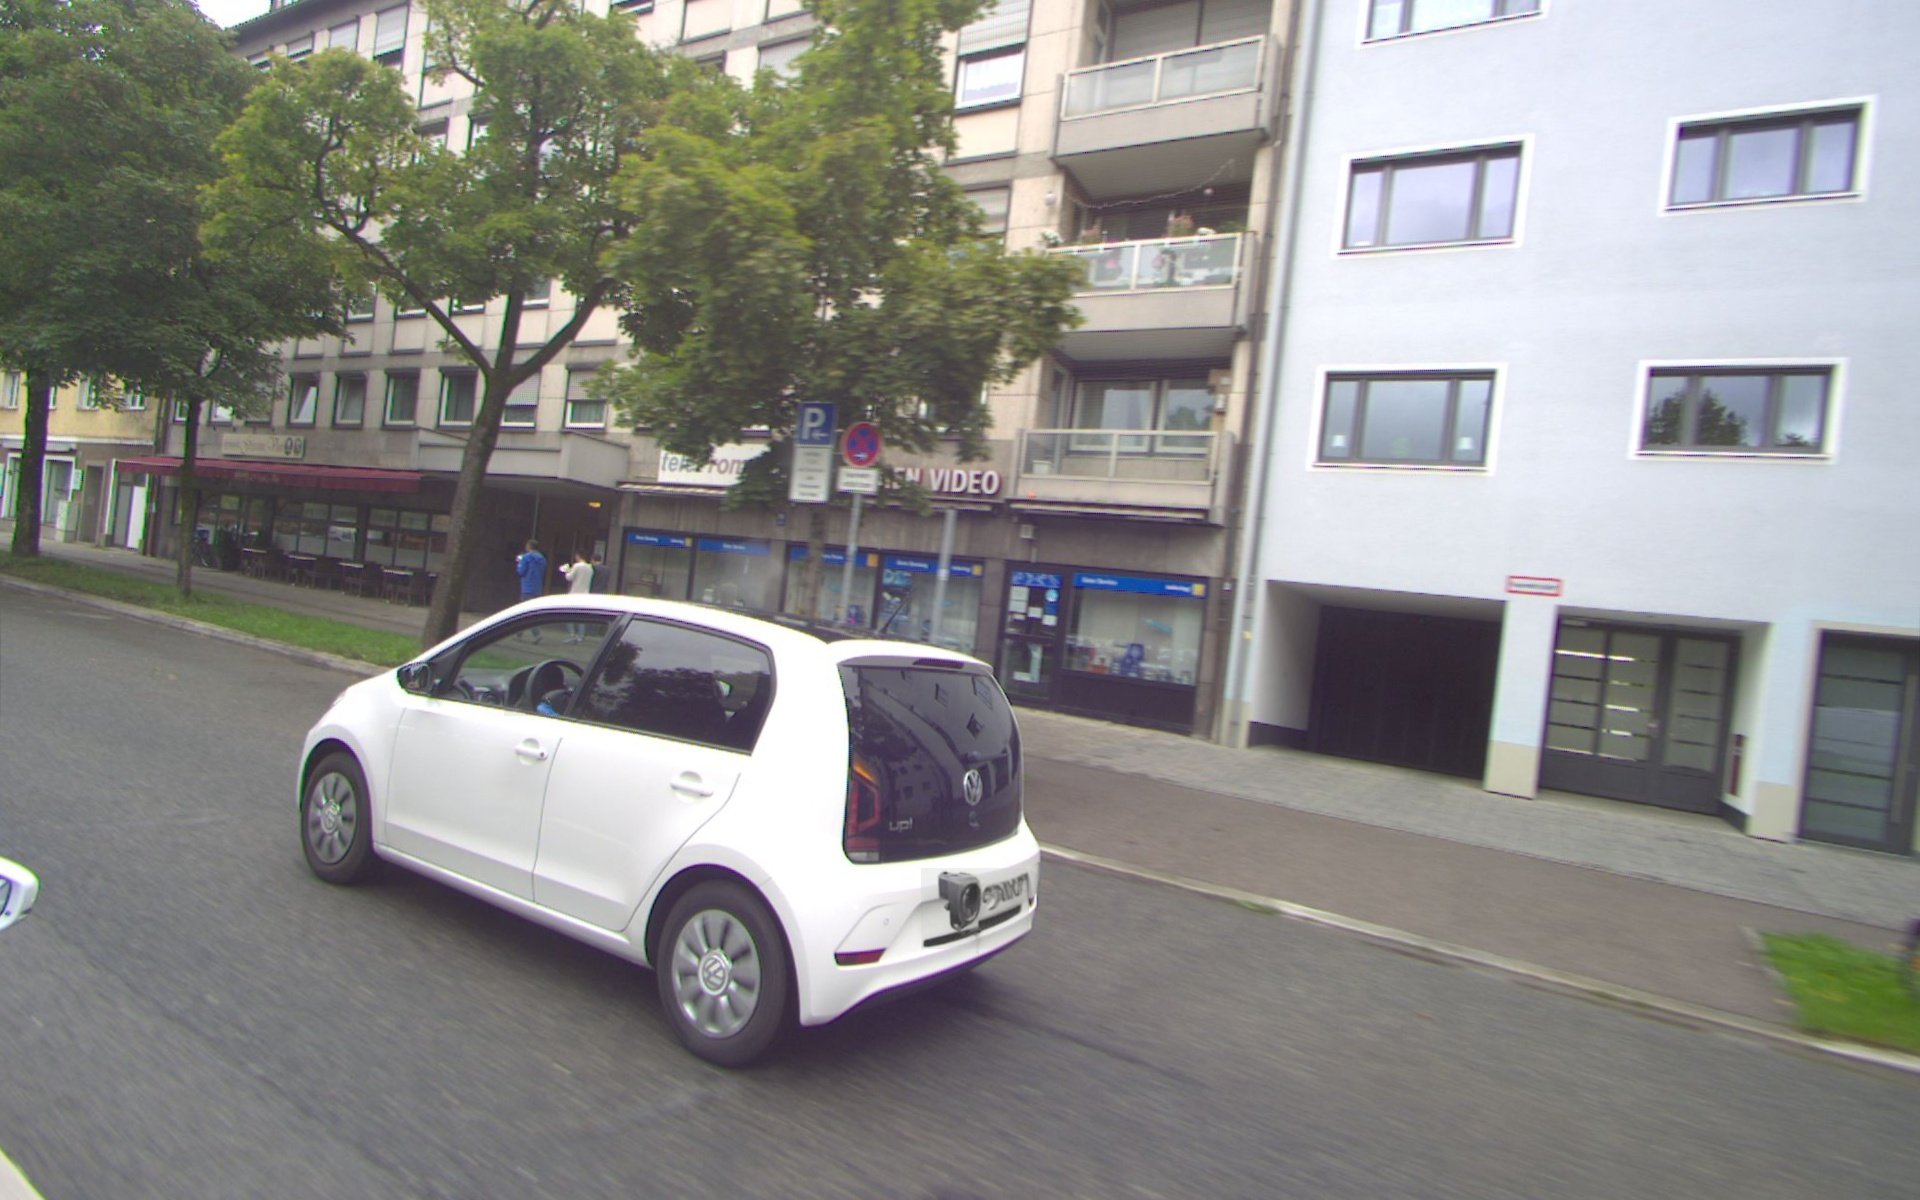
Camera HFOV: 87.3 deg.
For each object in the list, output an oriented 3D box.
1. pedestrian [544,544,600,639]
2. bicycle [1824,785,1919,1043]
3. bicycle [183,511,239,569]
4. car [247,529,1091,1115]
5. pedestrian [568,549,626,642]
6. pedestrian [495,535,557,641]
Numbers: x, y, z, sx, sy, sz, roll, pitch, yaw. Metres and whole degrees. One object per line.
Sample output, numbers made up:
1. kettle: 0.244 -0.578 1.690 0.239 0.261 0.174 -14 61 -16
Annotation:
1. pedestrian: -7.133 -0.151 18.509 0.630 1.650 0.549 7 2 31
2. bicycle: 5.972 1.800 5.275 2.109 1.271 0.456 7 0 13
3. bicycle: -21.307 -1.708 28.626 1.660 1.481 0.581 7 0 32
4. car: -1.381 0.675 4.553 3.378 1.507 1.690 7 -2 32
5. pedestrian: -6.889 -0.087 19.099 0.712 1.660 0.542 7 0 31
6. pedestrian: -7.637 -0.210 17.689 0.720 1.754 0.500 7 0 31
